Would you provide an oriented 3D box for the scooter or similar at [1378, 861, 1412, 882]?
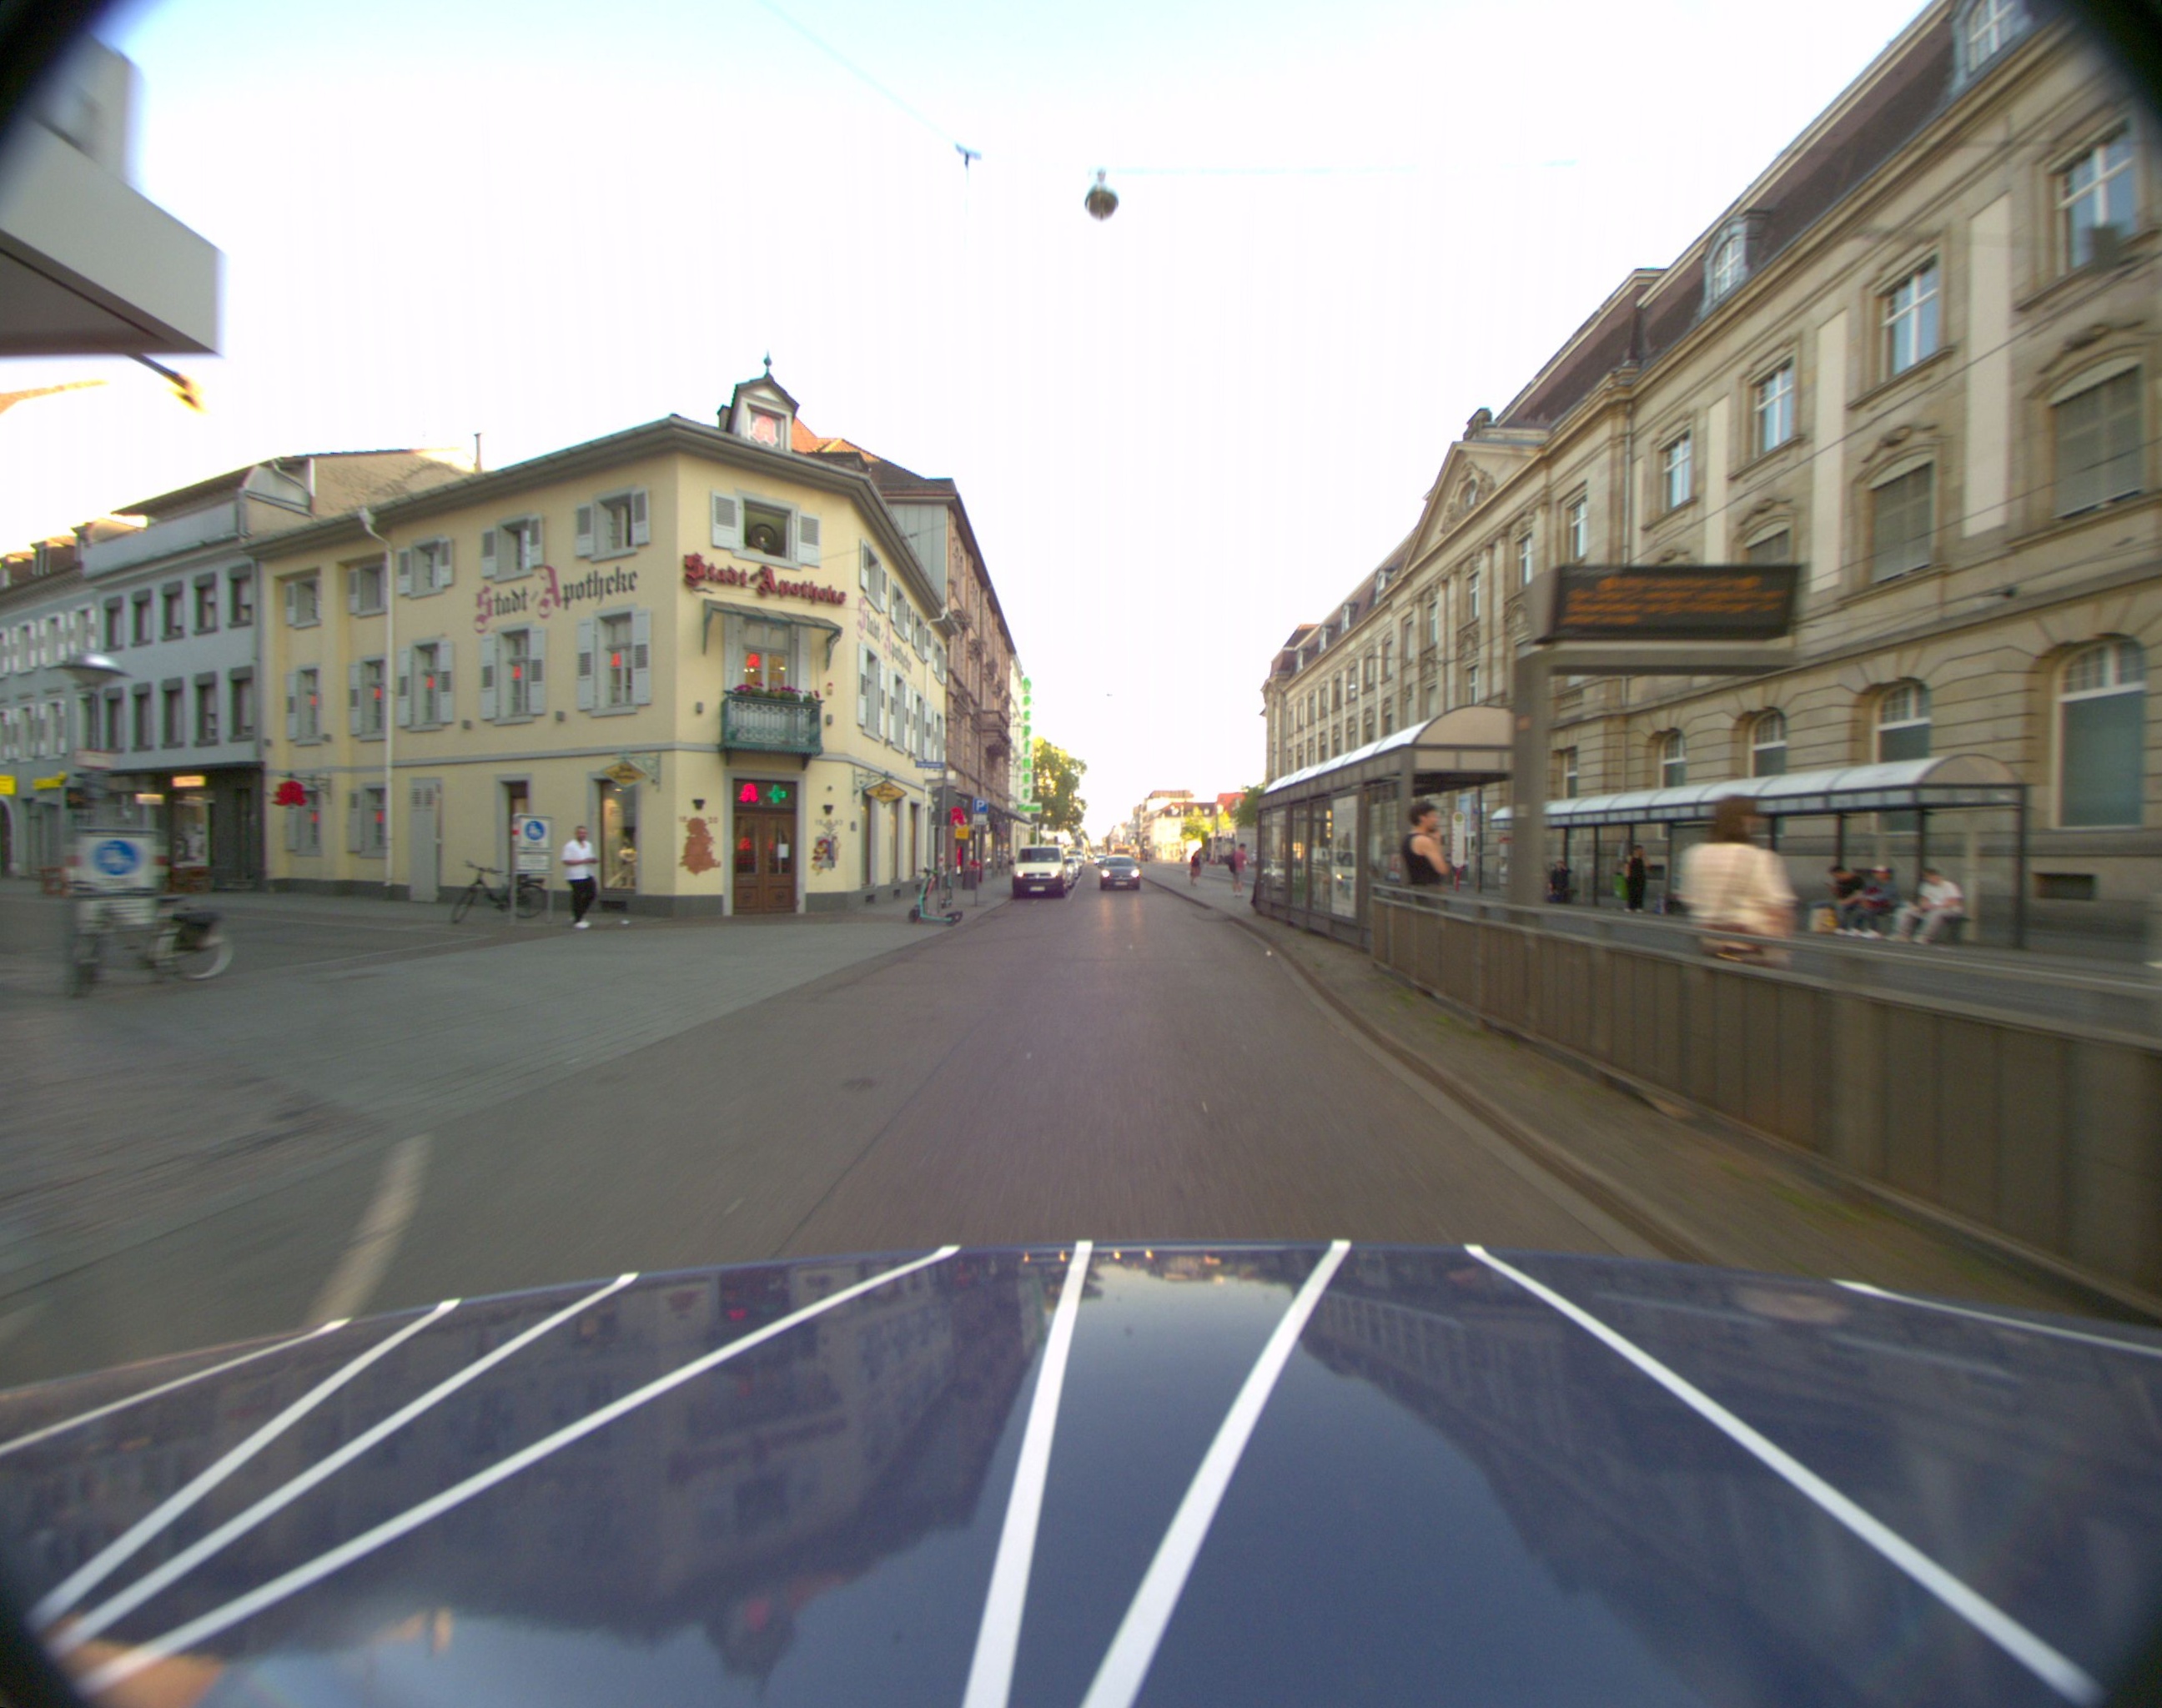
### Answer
[{"bbox_3d":[16.605,0.923,40.184,1.550,1.062,0.451,-1,1,6],"label":"scooter or similar"}]

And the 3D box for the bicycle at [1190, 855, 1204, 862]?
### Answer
[{"bbox_3d":[18.393,0.753,120.392,2.131,1.153,0.692,0,0,2],"label":"bicycle"}]

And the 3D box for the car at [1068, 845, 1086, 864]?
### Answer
[{"bbox_3d":[-0.421,0.019,86.184,1.857,2.055,5.215,1,1,1],"label":"car"}]

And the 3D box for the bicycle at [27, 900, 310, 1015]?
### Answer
[{"bbox_3d":[-9.666,1.045,8.191,0.771,1.022,1.848,-1,-1,4],"label":"bicycle"}]

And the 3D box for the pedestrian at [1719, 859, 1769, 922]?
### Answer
[{"bbox_3d":[14.287,0.773,16.378,0.519,1.320,0.638,0,1,4],"label":"pedestrian"}]

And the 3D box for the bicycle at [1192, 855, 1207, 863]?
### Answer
[{"bbox_3d":[18.504,0.771,118.654,2.131,1.153,0.692,0,0,2],"label":"bicycle"}]

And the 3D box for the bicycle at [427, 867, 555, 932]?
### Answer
[{"bbox_3d":[-11.811,0.872,15.273,0.770,1.174,1.850,0,1,31],"label":"bicycle"}]

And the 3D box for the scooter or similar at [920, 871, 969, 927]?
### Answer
[{"bbox_3d":[-3.103,1.008,17.272,1.049,1.227,0.271,1,2,-31],"label":"scooter or similar"}]

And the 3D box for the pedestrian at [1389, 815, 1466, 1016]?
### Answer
[{"bbox_3d":[3.159,0.542,6.963,0.413,1.757,0.594,-1,1,-1],"label":"pedestrian"}]

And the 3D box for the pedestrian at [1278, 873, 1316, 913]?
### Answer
[{"bbox_3d":[5.271,0.944,18.545,0.798,0.934,0.694,0,1,24],"label":"pedestrian"}]

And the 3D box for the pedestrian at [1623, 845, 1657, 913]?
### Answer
[{"bbox_3d":[13.789,0.612,18.762,0.518,1.641,0.639,1,2,23],"label":"pedestrian"}]

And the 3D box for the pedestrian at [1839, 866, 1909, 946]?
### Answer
[{"bbox_3d":[13.699,0.883,13.139,0.519,1.320,0.638,0,1,4],"label":"pedestrian"}]

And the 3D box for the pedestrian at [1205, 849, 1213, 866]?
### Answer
[{"bbox_3d":[13.426,0.397,79.700,0.679,1.726,0.483,2,0,19],"label":"pedestrian"}]

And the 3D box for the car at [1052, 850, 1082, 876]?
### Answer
[{"bbox_3d":[-0.846,0.546,49.151,1.737,1.502,4.864,-2,1,1],"label":"car"}]

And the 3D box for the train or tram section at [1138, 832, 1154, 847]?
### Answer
[{"bbox_3d":[15.646,-3.507,183.898,2.902,3.665,13.478,1,1,1],"label":"train or tram section"}]

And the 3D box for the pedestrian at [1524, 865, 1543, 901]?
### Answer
[{"bbox_3d":[14.019,0.895,23.561,0.365,1.096,0.430,-1,1,7],"label":"pedestrian"}]

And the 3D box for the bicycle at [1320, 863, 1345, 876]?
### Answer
[{"bbox_3d":[17.174,1.042,51.955,1.579,0.869,0.451,-1,1,6],"label":"bicycle"}]

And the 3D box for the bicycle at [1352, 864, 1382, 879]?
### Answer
[{"bbox_3d":[17.234,1.052,45.804,1.579,0.869,0.451,-1,1,6],"label":"bicycle"}]

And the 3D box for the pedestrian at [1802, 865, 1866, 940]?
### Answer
[{"bbox_3d":[13.746,0.874,13.878,0.519,1.320,0.638,0,1,4],"label":"pedestrian"}]

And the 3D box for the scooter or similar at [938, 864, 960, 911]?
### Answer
[{"bbox_3d":[-3.666,0.919,21.135,0.272,1.227,1.308,2,1,5],"label":"scooter or similar"}]

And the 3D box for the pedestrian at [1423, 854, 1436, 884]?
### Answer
[{"bbox_3d":[16.669,0.705,36.300,0.439,1.431,0.573,0,1,37],"label":"pedestrian"}]

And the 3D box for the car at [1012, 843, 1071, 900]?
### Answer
[{"bbox_3d":[-1.418,0.581,28.898,1.881,1.912,4.699,-2,1,1],"label":"car"}]

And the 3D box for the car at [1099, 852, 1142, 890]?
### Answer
[{"bbox_3d":[1.701,0.706,33.549,1.738,1.495,4.000,-1,1,1],"label":"car"}]

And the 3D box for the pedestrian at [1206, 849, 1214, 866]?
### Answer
[{"bbox_3d":[13.719,0.393,80.856,0.650,1.726,0.594,1,0,-8],"label":"pedestrian"}]

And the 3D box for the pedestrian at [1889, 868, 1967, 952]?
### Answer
[{"bbox_3d":[13.736,0.892,12.340,0.519,1.320,0.638,0,1,4],"label":"pedestrian"}]

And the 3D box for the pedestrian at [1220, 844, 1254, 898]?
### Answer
[{"bbox_3d":[4.846,0.524,23.589,0.686,1.628,0.863,0,1,42],"label":"pedestrian"}]

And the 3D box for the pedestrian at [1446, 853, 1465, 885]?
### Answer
[{"bbox_3d":[17.609,0.683,35.723,0.541,1.481,0.593,-2,1,-23],"label":"pedestrian"}]

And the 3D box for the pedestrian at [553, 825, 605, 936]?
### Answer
[{"bbox_3d":[-9.272,0.473,14.056,0.543,2.002,0.645,0,1,-3],"label":"pedestrian"}]

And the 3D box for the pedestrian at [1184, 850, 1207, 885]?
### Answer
[{"bbox_3d":[4.892,0.573,32.585,0.848,1.492,0.901,0,1,1],"label":"pedestrian"}]

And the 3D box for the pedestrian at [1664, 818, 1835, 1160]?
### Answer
[{"bbox_3d":[3.400,0.644,3.899,0.386,1.632,0.549,-1,1,-1],"label":"pedestrian"}]

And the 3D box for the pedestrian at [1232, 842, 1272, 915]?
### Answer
[{"bbox_3d":[4.044,0.558,17.950,0.639,1.681,0.675,-1,2,-38],"label":"pedestrian"}]

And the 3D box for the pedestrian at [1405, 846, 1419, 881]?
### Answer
[{"bbox_3d":[15.443,0.435,35.444,0.440,1.596,0.572,-1,1,10],"label":"pedestrian"}]

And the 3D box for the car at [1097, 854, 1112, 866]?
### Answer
[{"bbox_3d":[3.107,0.839,100.456,1.810,1.474,4.283,-2,0,1],"label":"car"}]

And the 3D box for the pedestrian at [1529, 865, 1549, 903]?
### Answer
[{"bbox_3d":[13.854,0.904,22.978,0.365,1.096,0.430,-1,1,7],"label":"pedestrian"}]

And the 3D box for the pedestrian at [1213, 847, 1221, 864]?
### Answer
[{"bbox_3d":[14.405,0.159,80.487,0.676,1.726,0.680,1,0,1],"label":"pedestrian"}]

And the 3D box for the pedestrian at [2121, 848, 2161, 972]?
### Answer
[{"bbox_3d":[14.542,0.743,10.097,0.519,1.636,0.638,0,1,4],"label":"pedestrian"}]

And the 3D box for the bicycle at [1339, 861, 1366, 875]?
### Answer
[{"bbox_3d":[17.590,0.886,49.292,1.579,0.869,0.451,-1,1,6],"label":"bicycle"}]

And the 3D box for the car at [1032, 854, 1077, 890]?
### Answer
[{"bbox_3d":[-1.129,0.770,34.881,1.810,1.474,4.778,-2,0,1],"label":"car"}]

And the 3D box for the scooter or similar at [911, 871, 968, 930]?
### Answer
[{"bbox_3d":[-3.089,0.999,16.573,1.177,1.227,0.317,2,1,17],"label":"scooter or similar"}]

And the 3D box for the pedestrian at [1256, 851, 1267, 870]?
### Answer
[{"bbox_3d":[14.908,0.520,62.821,0.776,1.524,0.739,0,1,19],"label":"pedestrian"}]

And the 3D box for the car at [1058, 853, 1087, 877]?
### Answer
[{"bbox_3d":[-0.585,0.787,55.497,1.737,1.581,4.442,-2,1,4],"label":"car"}]

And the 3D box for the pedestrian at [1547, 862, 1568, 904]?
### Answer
[{"bbox_3d":[13.883,0.845,22.130,0.365,1.193,0.430,-1,1,7],"label":"pedestrian"}]

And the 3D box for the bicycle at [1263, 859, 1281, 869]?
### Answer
[{"bbox_3d":[17.450,0.921,69.491,1.579,0.869,0.451,-1,1,6],"label":"bicycle"}]

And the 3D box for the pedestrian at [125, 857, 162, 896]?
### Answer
[{"bbox_3d":[-27.408,0.652,22.210,0.523,1.117,0.566,1,0,24],"label":"pedestrian"}]
